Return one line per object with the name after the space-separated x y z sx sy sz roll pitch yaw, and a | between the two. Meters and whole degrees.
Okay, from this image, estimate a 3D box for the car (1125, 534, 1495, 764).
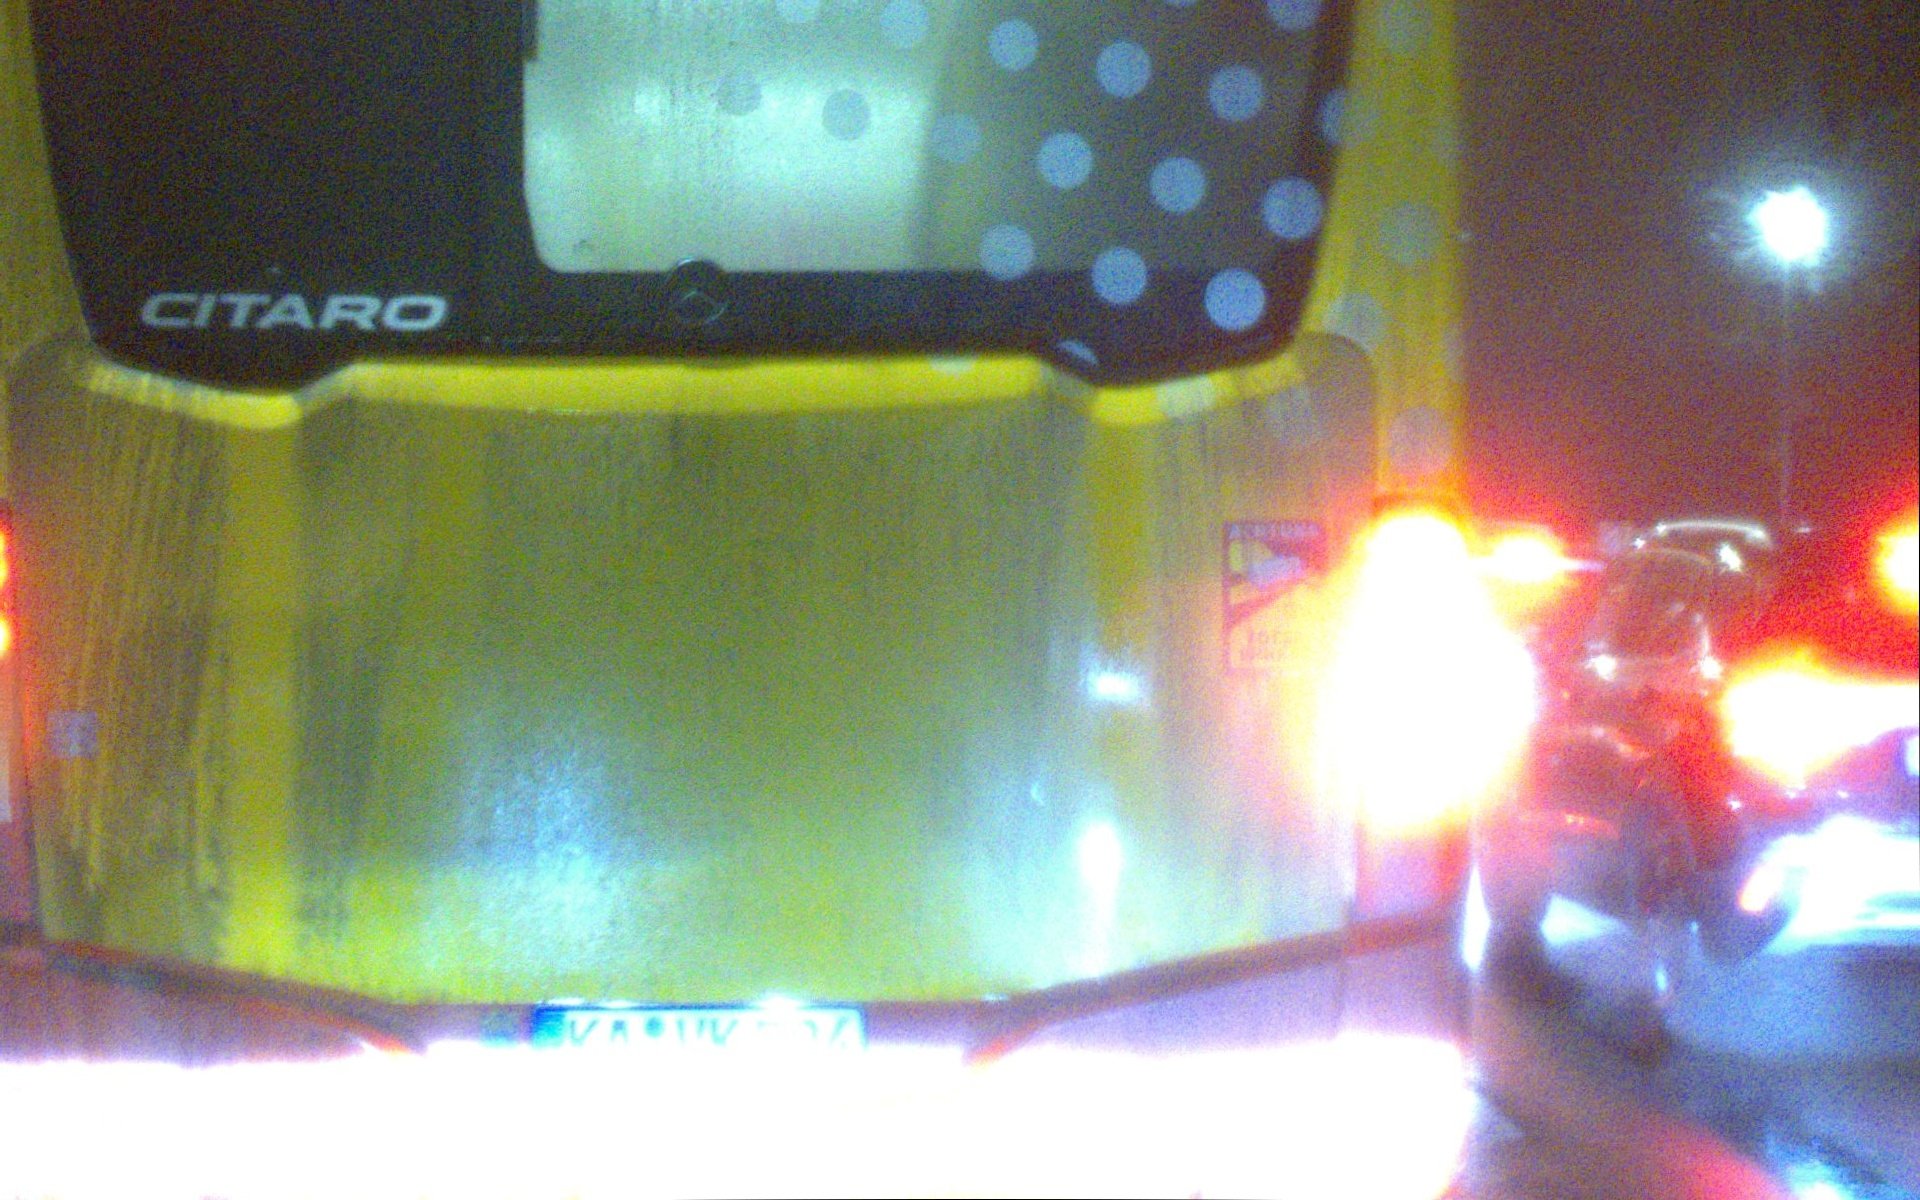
2.327 0.292 23.888 1.993 1.436 4.000 1 1 -2 | car

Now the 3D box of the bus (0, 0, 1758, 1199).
-0.640 -0.312 9.842 3.285 3.039 9.546 0 2 -2 | bus

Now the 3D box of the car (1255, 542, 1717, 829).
2.628 0.370 18.022 1.686 1.326 3.961 -1 1 -2 | car

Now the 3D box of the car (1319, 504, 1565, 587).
9.593 -1.096 68.584 4.482 1.513 1.858 1 3 -8 | car

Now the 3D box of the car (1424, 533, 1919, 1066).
2.814 0.557 11.831 1.677 1.516 3.961 1 1 -3 | car
